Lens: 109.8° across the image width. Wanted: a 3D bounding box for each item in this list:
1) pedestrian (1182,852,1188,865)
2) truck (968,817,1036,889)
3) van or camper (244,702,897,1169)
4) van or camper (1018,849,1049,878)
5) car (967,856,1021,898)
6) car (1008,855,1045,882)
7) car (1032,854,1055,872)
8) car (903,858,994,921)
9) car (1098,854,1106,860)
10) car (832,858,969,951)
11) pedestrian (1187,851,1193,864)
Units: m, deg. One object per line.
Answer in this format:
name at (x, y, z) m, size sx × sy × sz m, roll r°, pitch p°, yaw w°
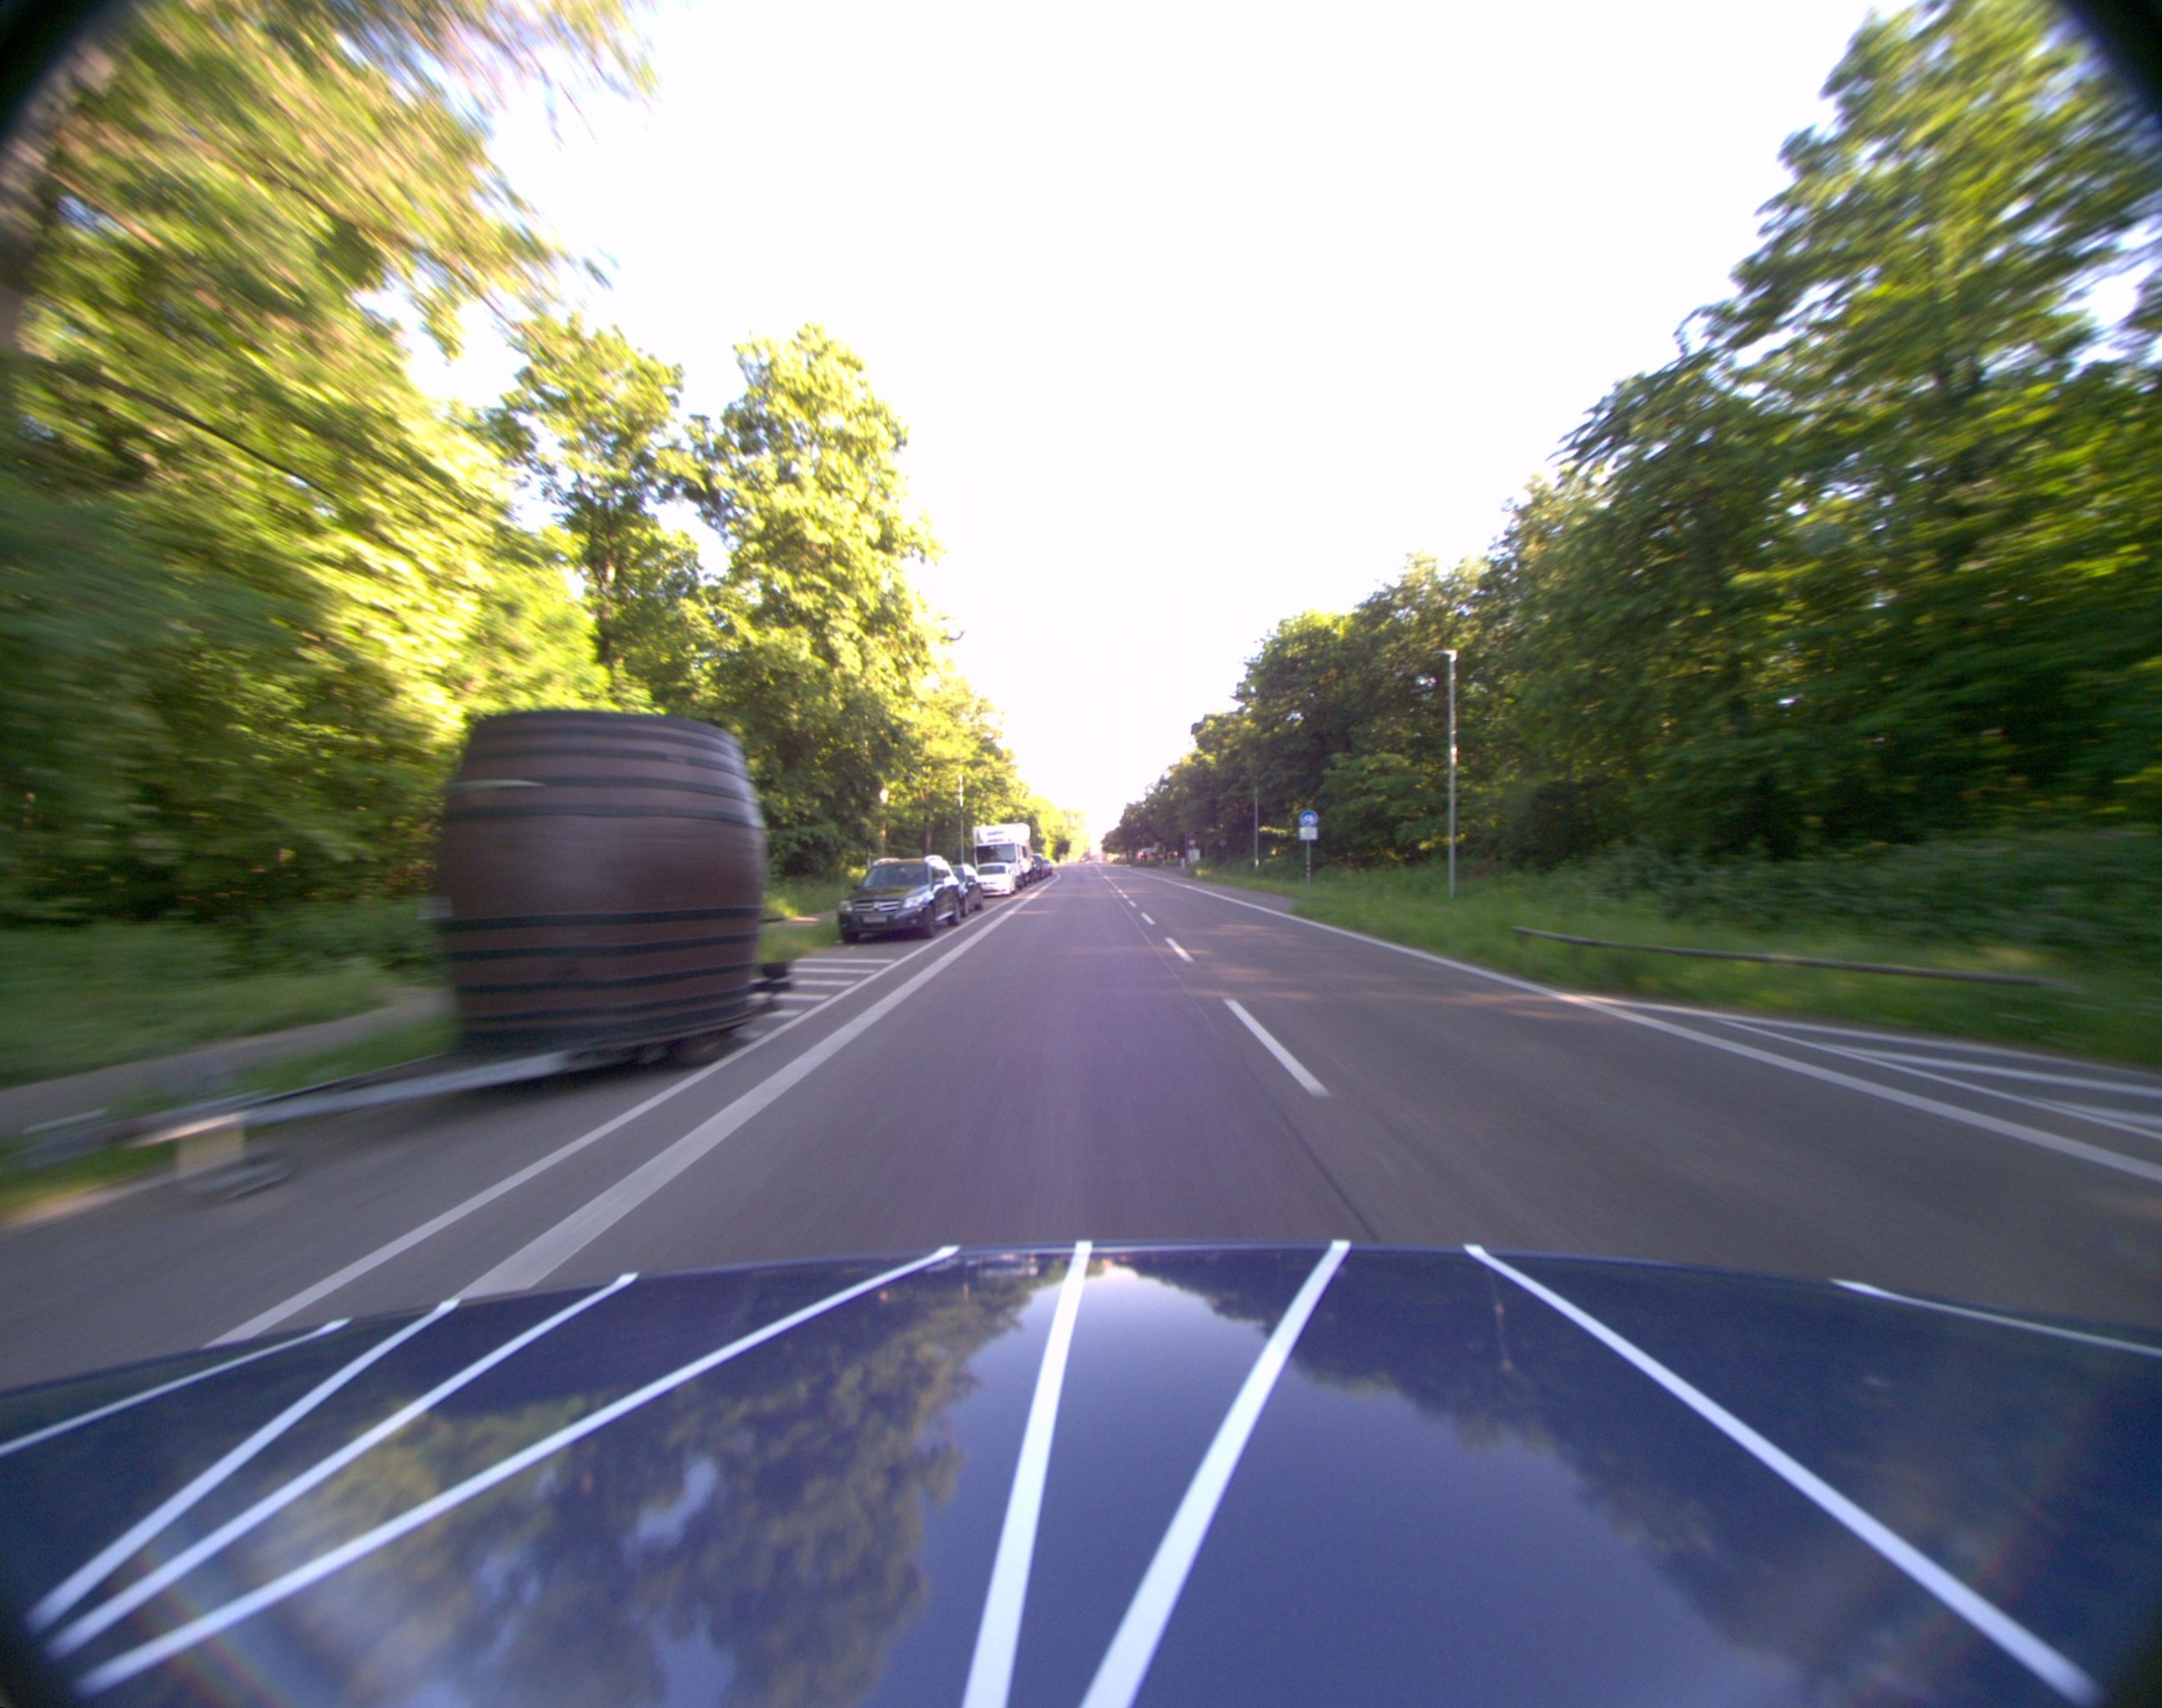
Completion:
pedestrian at (13.378, 0.528, 97.962) m, size 0.676 × 1.644 × 0.790 m, roll -1°, pitch 1°, yaw 5°
truck at (-4.141, -0.064, 41.632) m, size 2.840 × 3.477 × 8.577 m, roll -1°, pitch 0°, yaw 0°
van or camper at (-3.940, 0.496, 8.000) m, size 2.447 × 2.783 × 6.555 m, roll -3°, pitch 0°, yaw -2°
van or camper at (-3.519, 0.669, 56.785) m, size 1.902 × 2.002 × 4.586 m, roll -1°, pitch 0°, yaw 1°
car at (-3.652, 0.943, 32.503) m, size 1.716 × 1.559 × 4.000 m, roll -3°, pitch 0°, yaw 0°
car at (-3.580, 0.911, 50.479) m, size 1.802 × 1.647 × 4.030 m, roll -1°, pitch 0°, yaw 5°
car at (-3.362, 0.798, 68.471) m, size 1.803 × 1.585 × 4.029 m, roll -1°, pitch 0°, yaw 1°
car at (-3.811, 0.961, 22.674) m, size 1.716 × 1.559 × 4.551 m, roll -3°, pitch 0°, yaw 2°
car at (5.530, 0.877, 196.556) m, size 1.830 × 1.517 × 3.943 m, roll -1°, pitch 0°, yaw -2°
car at (-3.783, 0.978, 16.762) m, size 1.716 × 1.655 × 4.551 m, roll -3°, pitch 0°, yaw 2°
pedestrian at (14.048, 0.430, 97.888) m, size 0.676 × 1.644 × 0.790 m, roll -1°, pitch 1°, yaw 5°
